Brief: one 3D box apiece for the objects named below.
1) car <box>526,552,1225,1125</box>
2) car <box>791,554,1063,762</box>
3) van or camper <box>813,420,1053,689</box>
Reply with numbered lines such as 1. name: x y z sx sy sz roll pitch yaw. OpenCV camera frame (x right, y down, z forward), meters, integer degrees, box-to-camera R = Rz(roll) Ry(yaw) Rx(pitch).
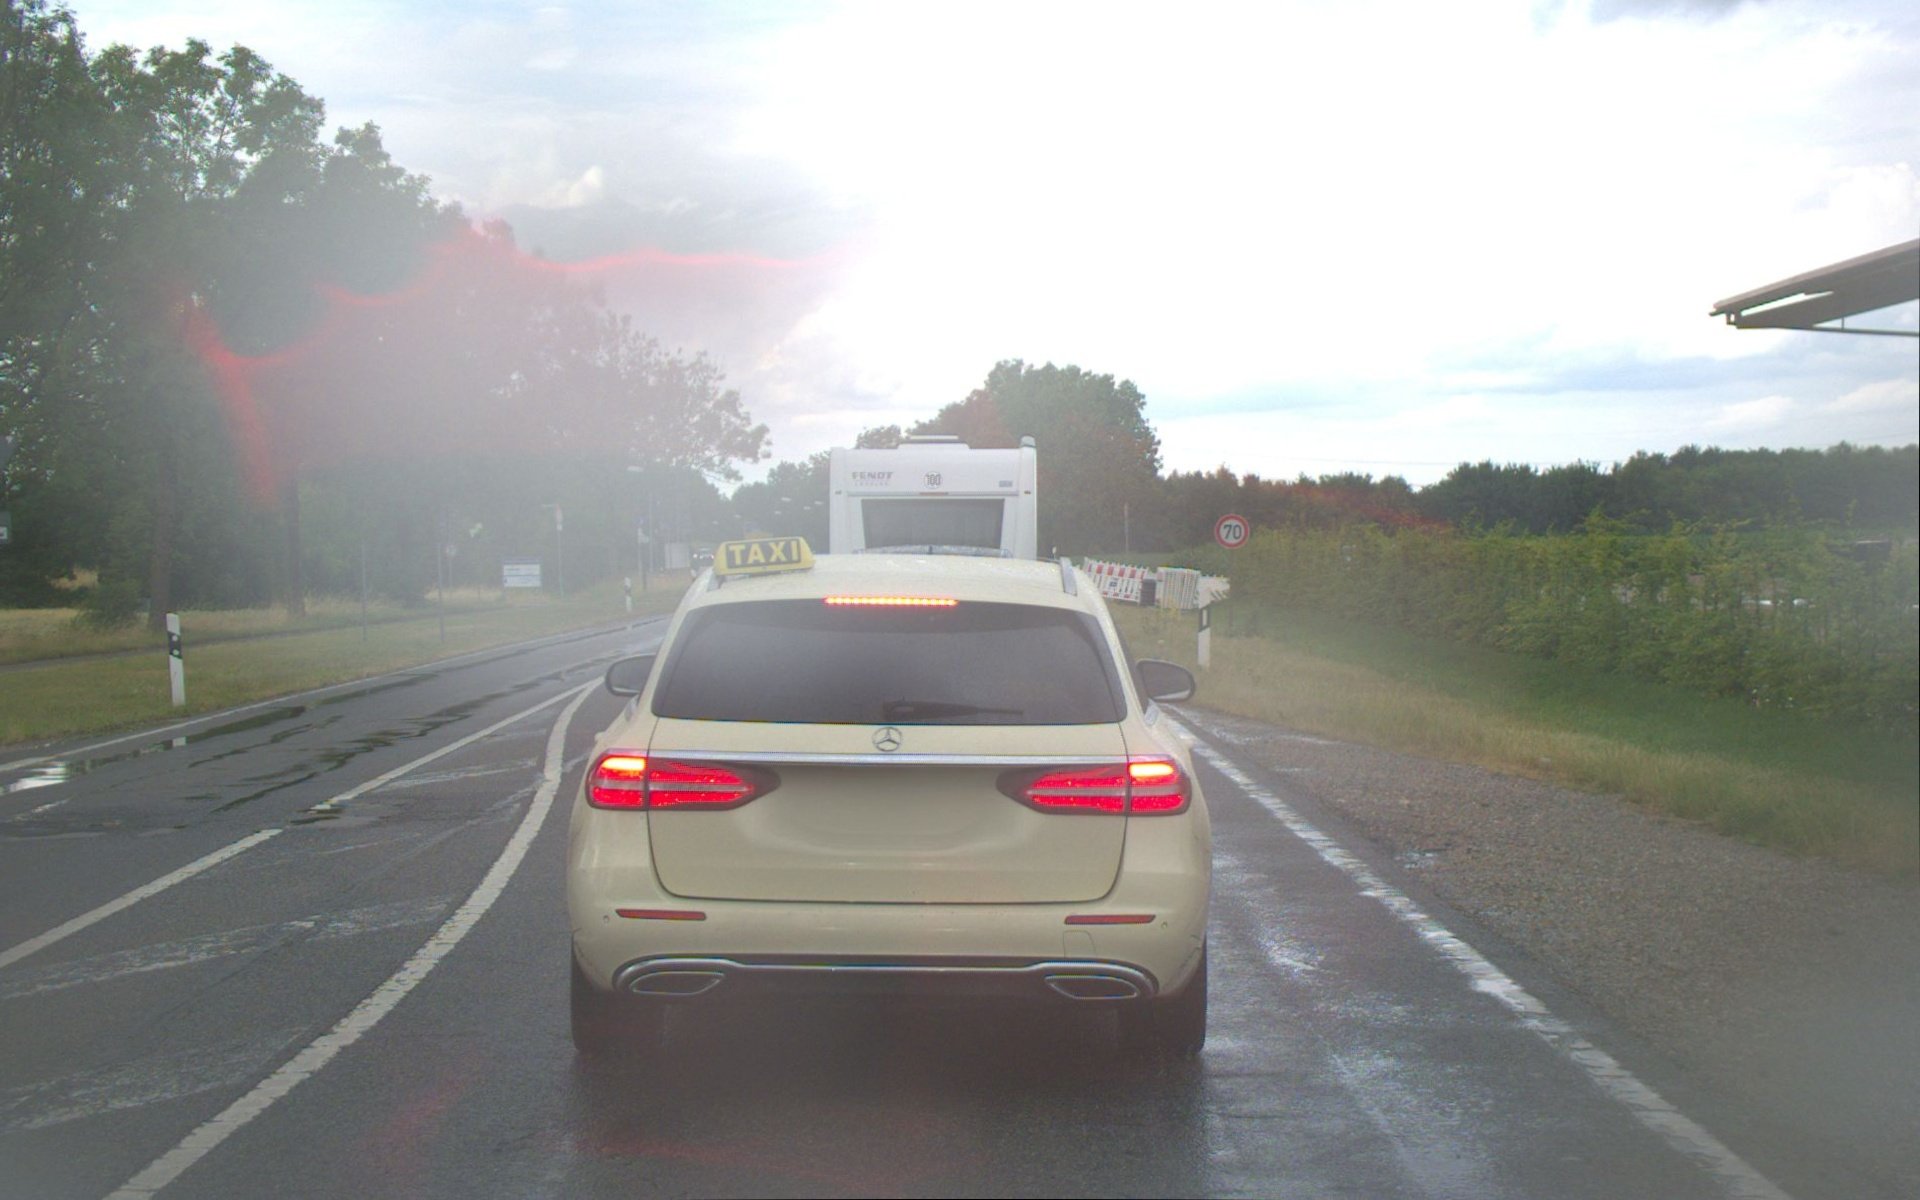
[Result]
1. car: -0.219 0.586 10.866 1.797 1.459 4.031 0 1 0
2. car: -0.229 0.378 25.904 1.894 1.424 3.928 0 1 0
3. van or camper: -0.268 -0.538 40.024 2.497 2.821 5.934 -2 1 1
